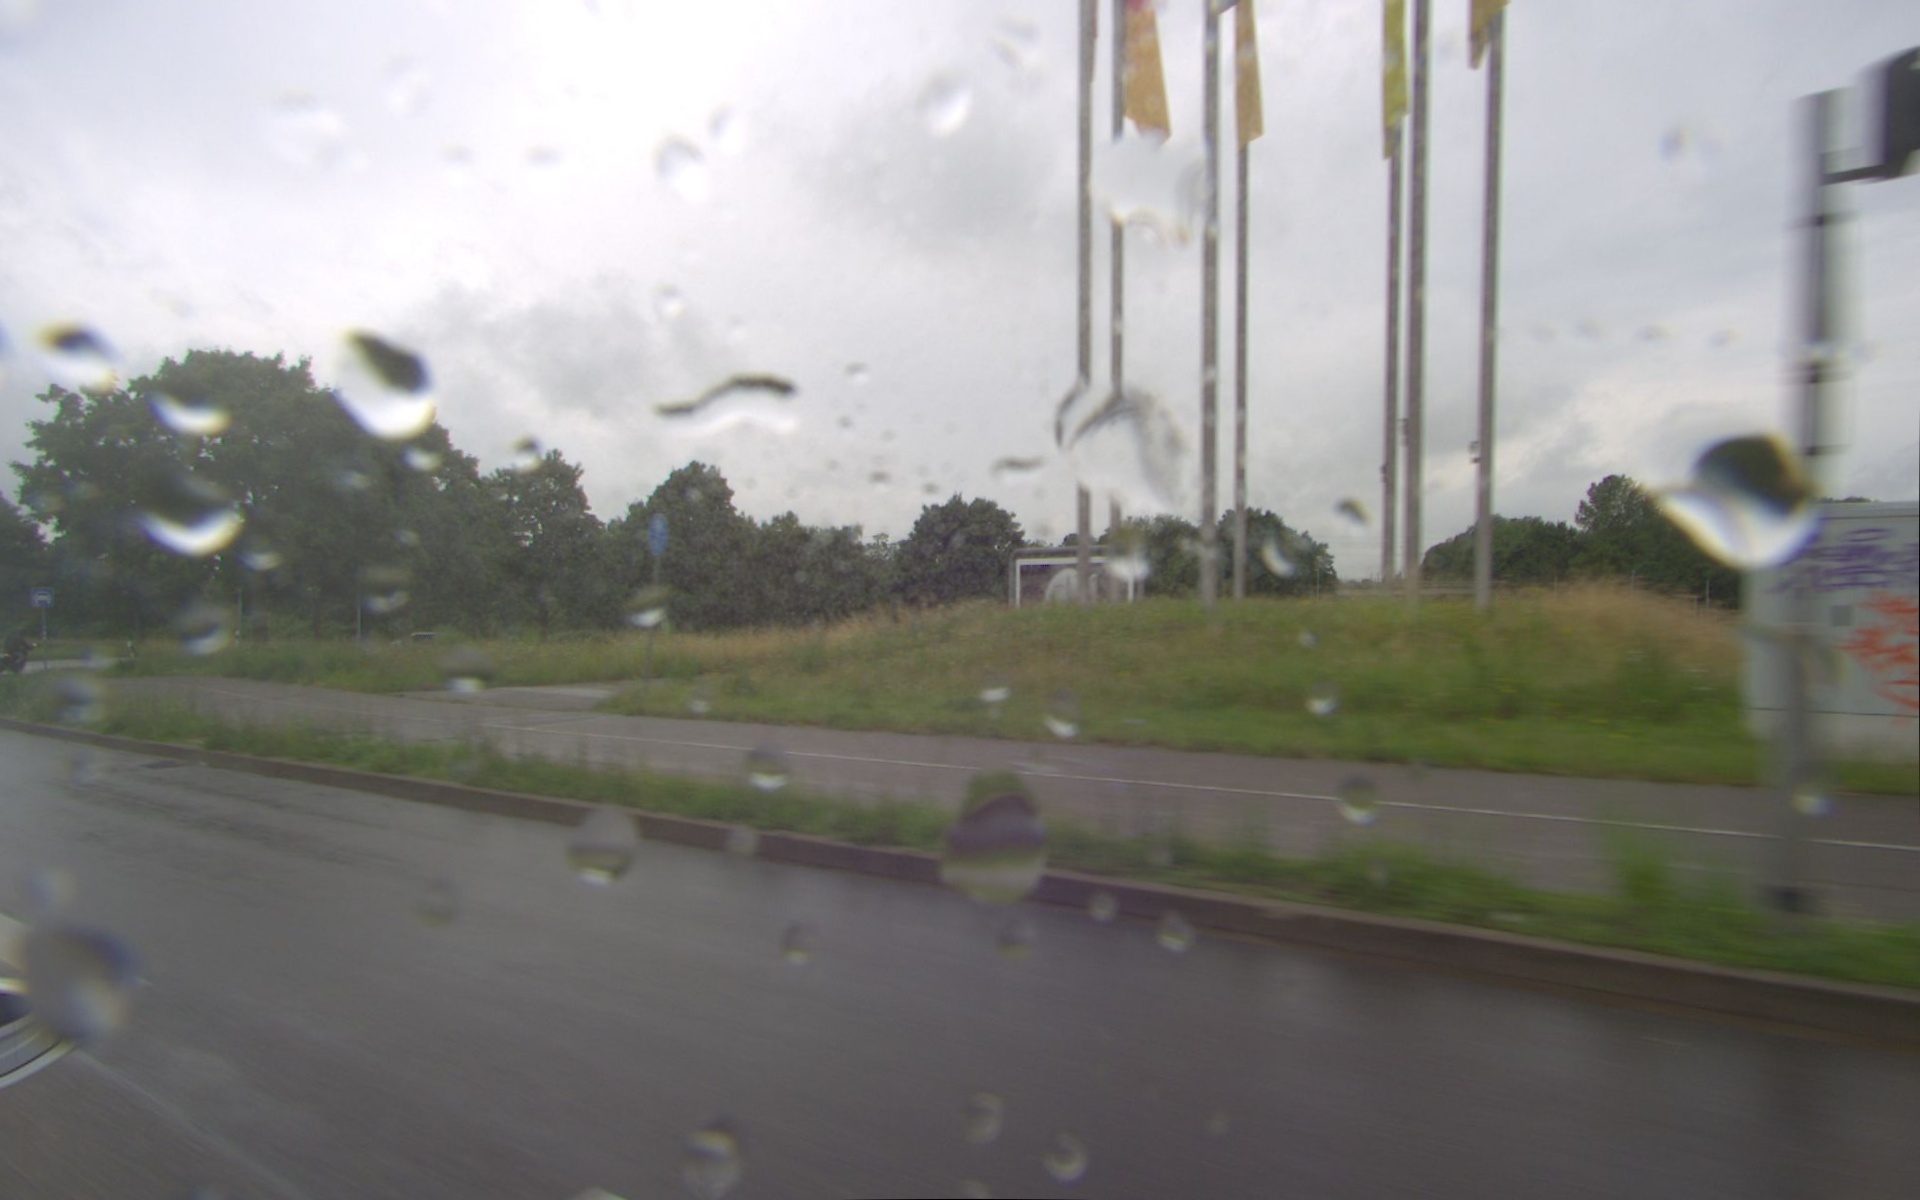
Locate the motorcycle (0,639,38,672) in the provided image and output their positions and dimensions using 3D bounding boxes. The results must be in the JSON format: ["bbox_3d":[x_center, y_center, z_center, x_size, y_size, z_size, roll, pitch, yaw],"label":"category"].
[{"bbox_3d":[-33.546,1.968,35.591,0.593,1.108,1.726,1,0,-23],"label":"motorcycle"}]

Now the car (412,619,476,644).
[{"bbox_3d":[-41.422,2.496,80.439,4.540,2.000,2.056,1,-1,-28],"label":"car"}]

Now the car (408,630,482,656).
[{"bbox_3d":[-33.568,2.758,65.386,1.832,1.639,3.984,0,-1,29],"label":"car"}]

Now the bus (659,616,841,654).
[{"bbox_3d":[-16.933,2.809,81.769,14.367,2.715,2.751,0,0,-27],"label":"bus"}]

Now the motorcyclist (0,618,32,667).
[{"bbox_3d":[-33.532,1.500,35.569,0.593,1.712,0.857,0,0,-23],"label":"motorcyclist"}]
